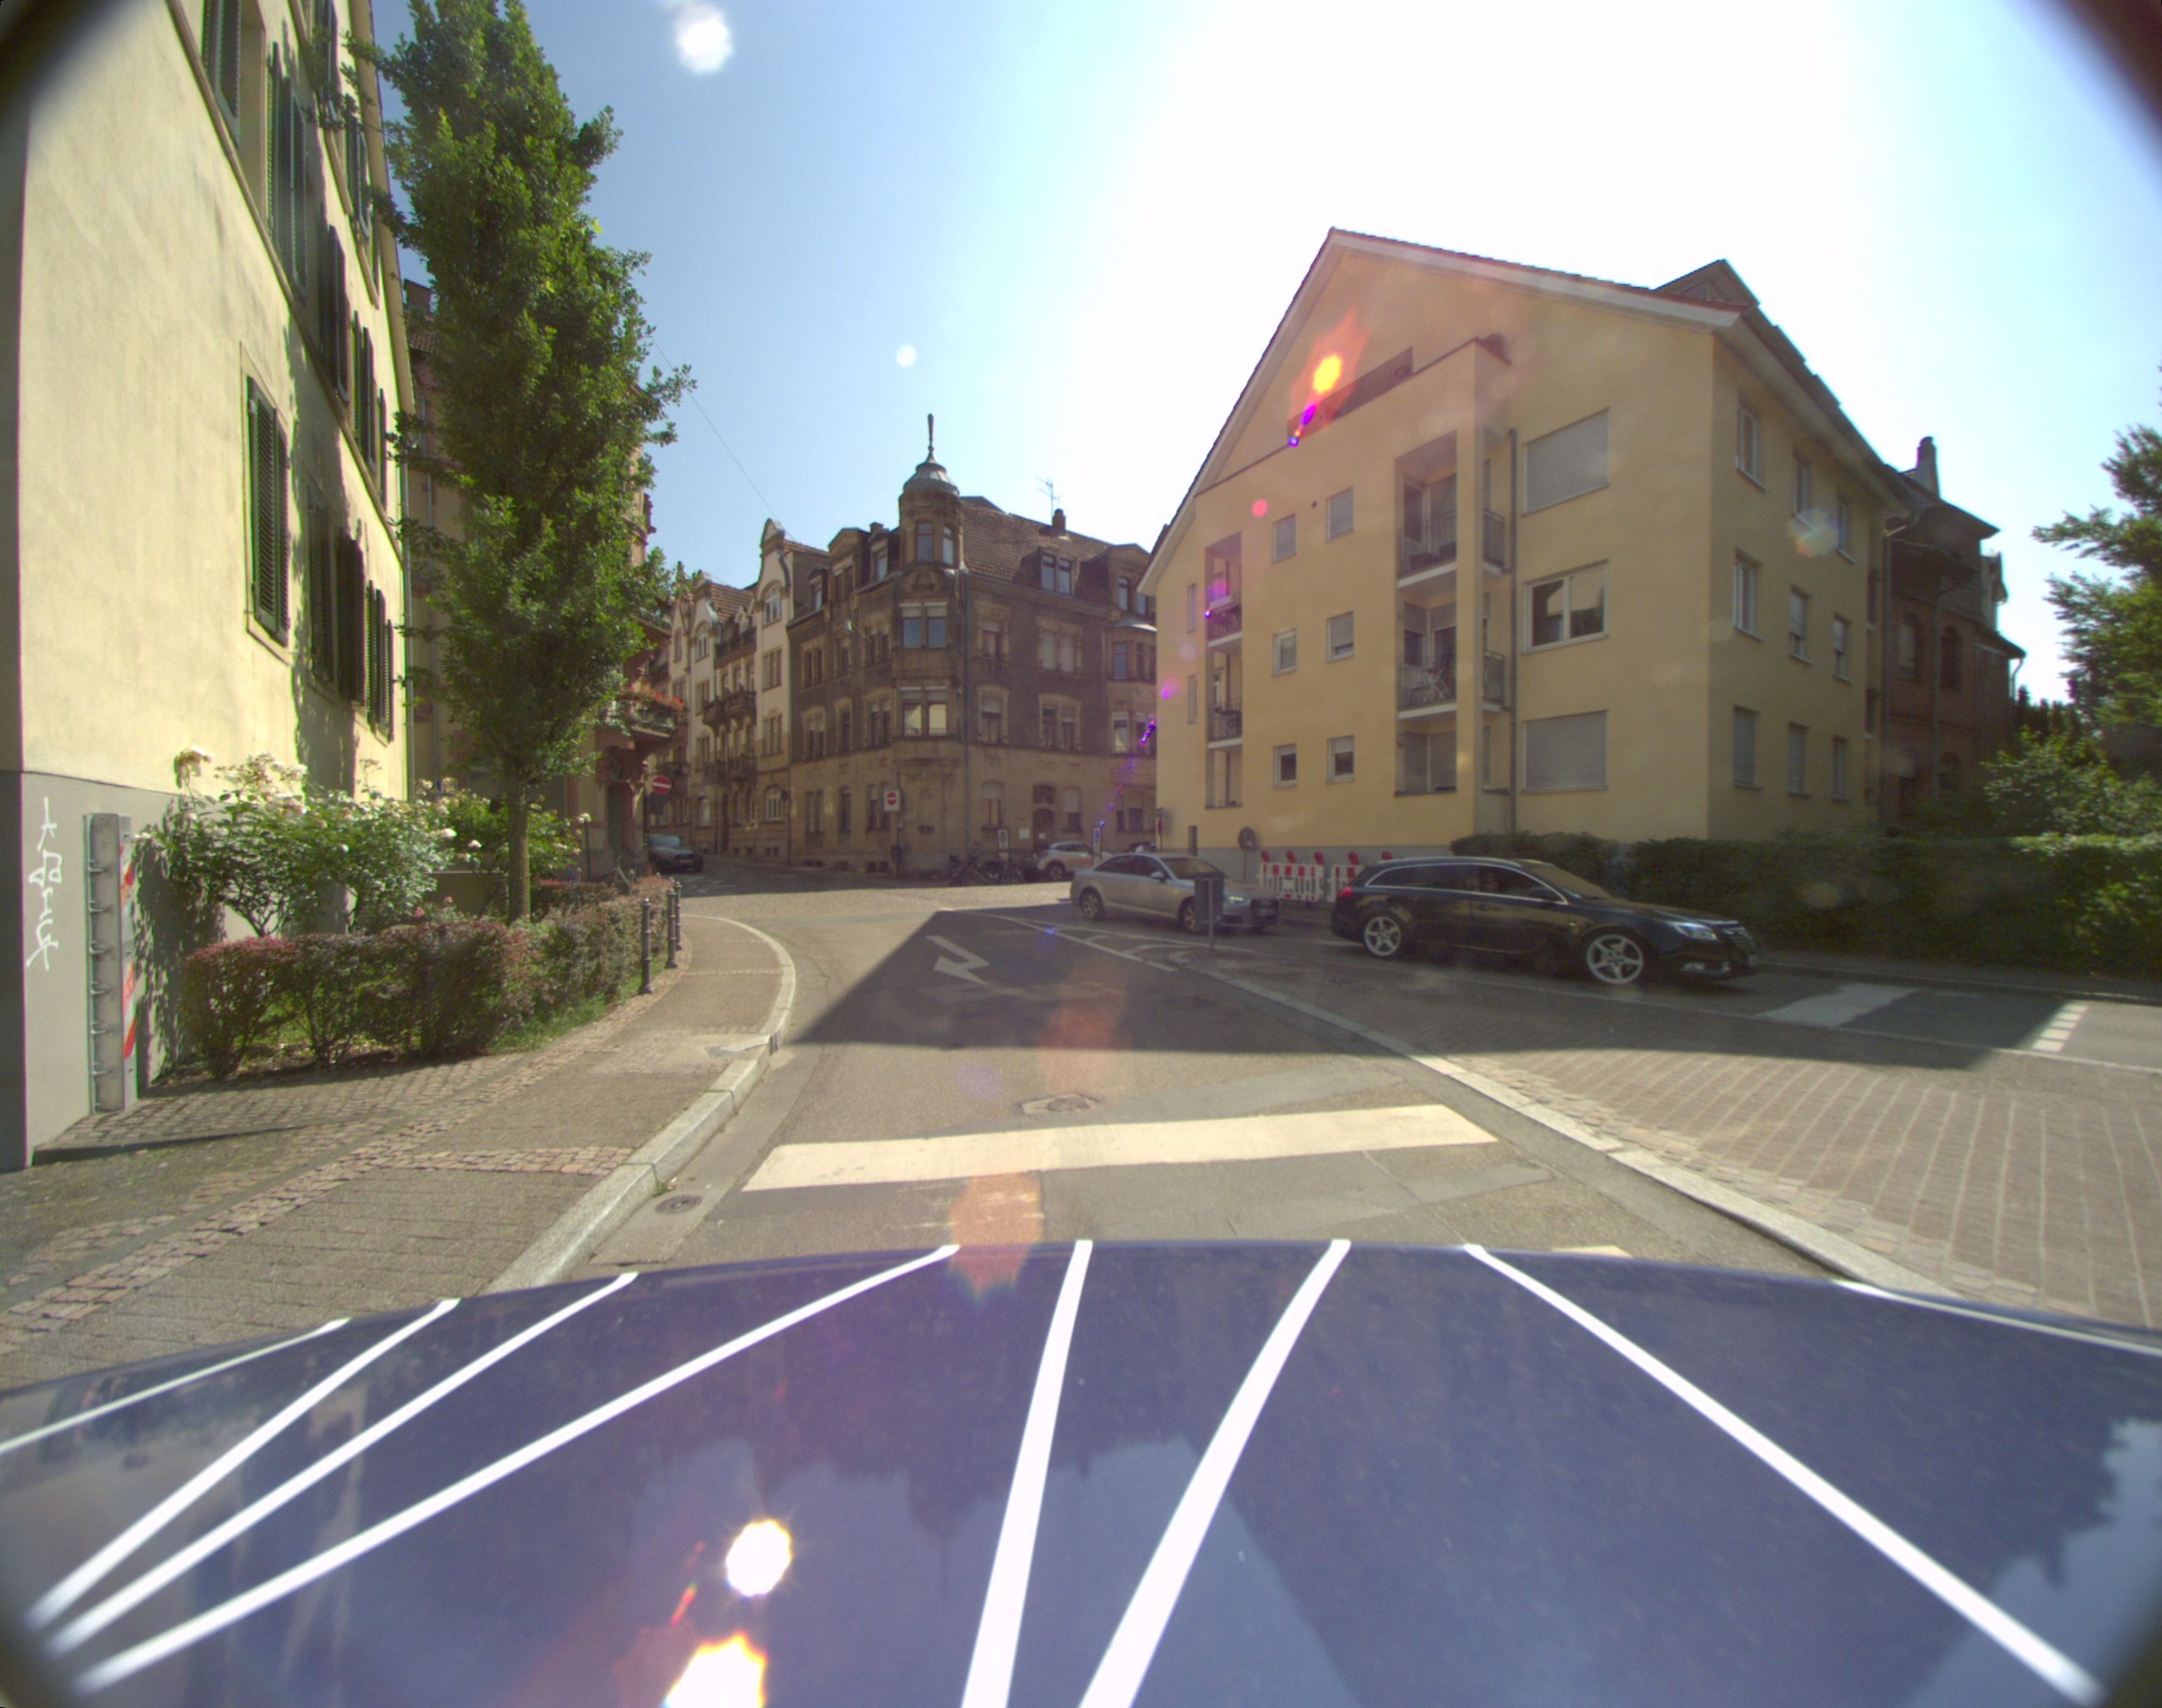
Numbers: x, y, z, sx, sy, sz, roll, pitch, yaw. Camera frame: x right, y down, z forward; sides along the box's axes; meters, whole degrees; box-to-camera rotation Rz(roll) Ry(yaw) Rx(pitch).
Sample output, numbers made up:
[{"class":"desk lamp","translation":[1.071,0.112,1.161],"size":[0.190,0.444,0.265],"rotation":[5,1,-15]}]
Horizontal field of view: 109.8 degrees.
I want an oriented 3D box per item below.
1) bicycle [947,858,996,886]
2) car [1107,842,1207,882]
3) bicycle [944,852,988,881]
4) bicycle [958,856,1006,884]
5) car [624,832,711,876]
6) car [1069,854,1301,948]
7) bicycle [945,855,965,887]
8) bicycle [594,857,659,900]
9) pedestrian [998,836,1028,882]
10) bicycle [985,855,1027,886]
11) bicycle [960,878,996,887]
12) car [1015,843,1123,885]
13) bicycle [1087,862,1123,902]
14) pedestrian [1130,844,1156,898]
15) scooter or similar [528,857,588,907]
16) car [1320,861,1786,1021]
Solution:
[{"class":"bicycle","translation":[-4.033,0.661,27.880],"size":[1.637,1.084,0.285],"rotation":[2,46,43]},{"class":"car","translation":[3.298,0.290,32.521],"size":[4.007,1.535,1.848],"rotation":[-2,1,-35]},{"class":"bicycle","translation":[-4.515,0.498,29.899],"size":[1.645,1.080,0.494],"rotation":[0,5,-36]},{"class":"bicycle","translation":[-3.681,0.587,28.232],"size":[1.637,1.084,0.285],"rotation":[2,46,43]},{"class":"car","translation":[-17.161,-0.069,31.460],"size":[4.246,1.574,1.866],"rotation":[3,5,43]},{"class":"car","translation":[1.842,0.770,14.739],"size":[1.881,1.484,4.370],"rotation":[-1,1,-38]},{"class":"bicycle","translation":[-4.564,0.615,27.510],"size":[0.286,1.080,1.639],"rotation":[-4,2,-22]},{"class":"bicycle","translation":[-12.727,0.678,21.286],"size":[1.789,1.140,0.506],"rotation":[1,1,18]},{"class":"pedestrian","translation":[-2.695,0.198,30.044],"size":[0.982,1.749,0.621],"rotation":[-2,6,-37]},{"class":"bicycle","translation":[-2.773,0.623,28.039],"size":[1.638,1.079,0.286],"rotation":[-2,-2,26]},{"class":"bicycle","translation":[-3.751,1.033,27.610],"size":[1.080,0.286,1.121],"rotation":[0,1,-22]},{"class":"car","translation":[-0.441,0.335,29.933],"size":[3.936,1.535,1.847],"rotation":[-1,1,-37]},{"class":"bicycle","translation":[0.693,0.811,22.489],"size":[0.392,1.073,1.906],"rotation":[0,1,-19]},{"class":"pedestrian","translation":[1.915,0.513,23.443],"size":[0.658,1.609,0.492],"rotation":[-1,2,-24]},{"class":"scooter or similar","translation":[-13.550,0.706,19.711],"size":[0.441,1.228,1.193],"rotation":[1,2,40]},{"class":"car","translation":[5.620,0.879,9.697],"size":[1.723,1.453,4.711],"rotation":[2,0,-38]}]
